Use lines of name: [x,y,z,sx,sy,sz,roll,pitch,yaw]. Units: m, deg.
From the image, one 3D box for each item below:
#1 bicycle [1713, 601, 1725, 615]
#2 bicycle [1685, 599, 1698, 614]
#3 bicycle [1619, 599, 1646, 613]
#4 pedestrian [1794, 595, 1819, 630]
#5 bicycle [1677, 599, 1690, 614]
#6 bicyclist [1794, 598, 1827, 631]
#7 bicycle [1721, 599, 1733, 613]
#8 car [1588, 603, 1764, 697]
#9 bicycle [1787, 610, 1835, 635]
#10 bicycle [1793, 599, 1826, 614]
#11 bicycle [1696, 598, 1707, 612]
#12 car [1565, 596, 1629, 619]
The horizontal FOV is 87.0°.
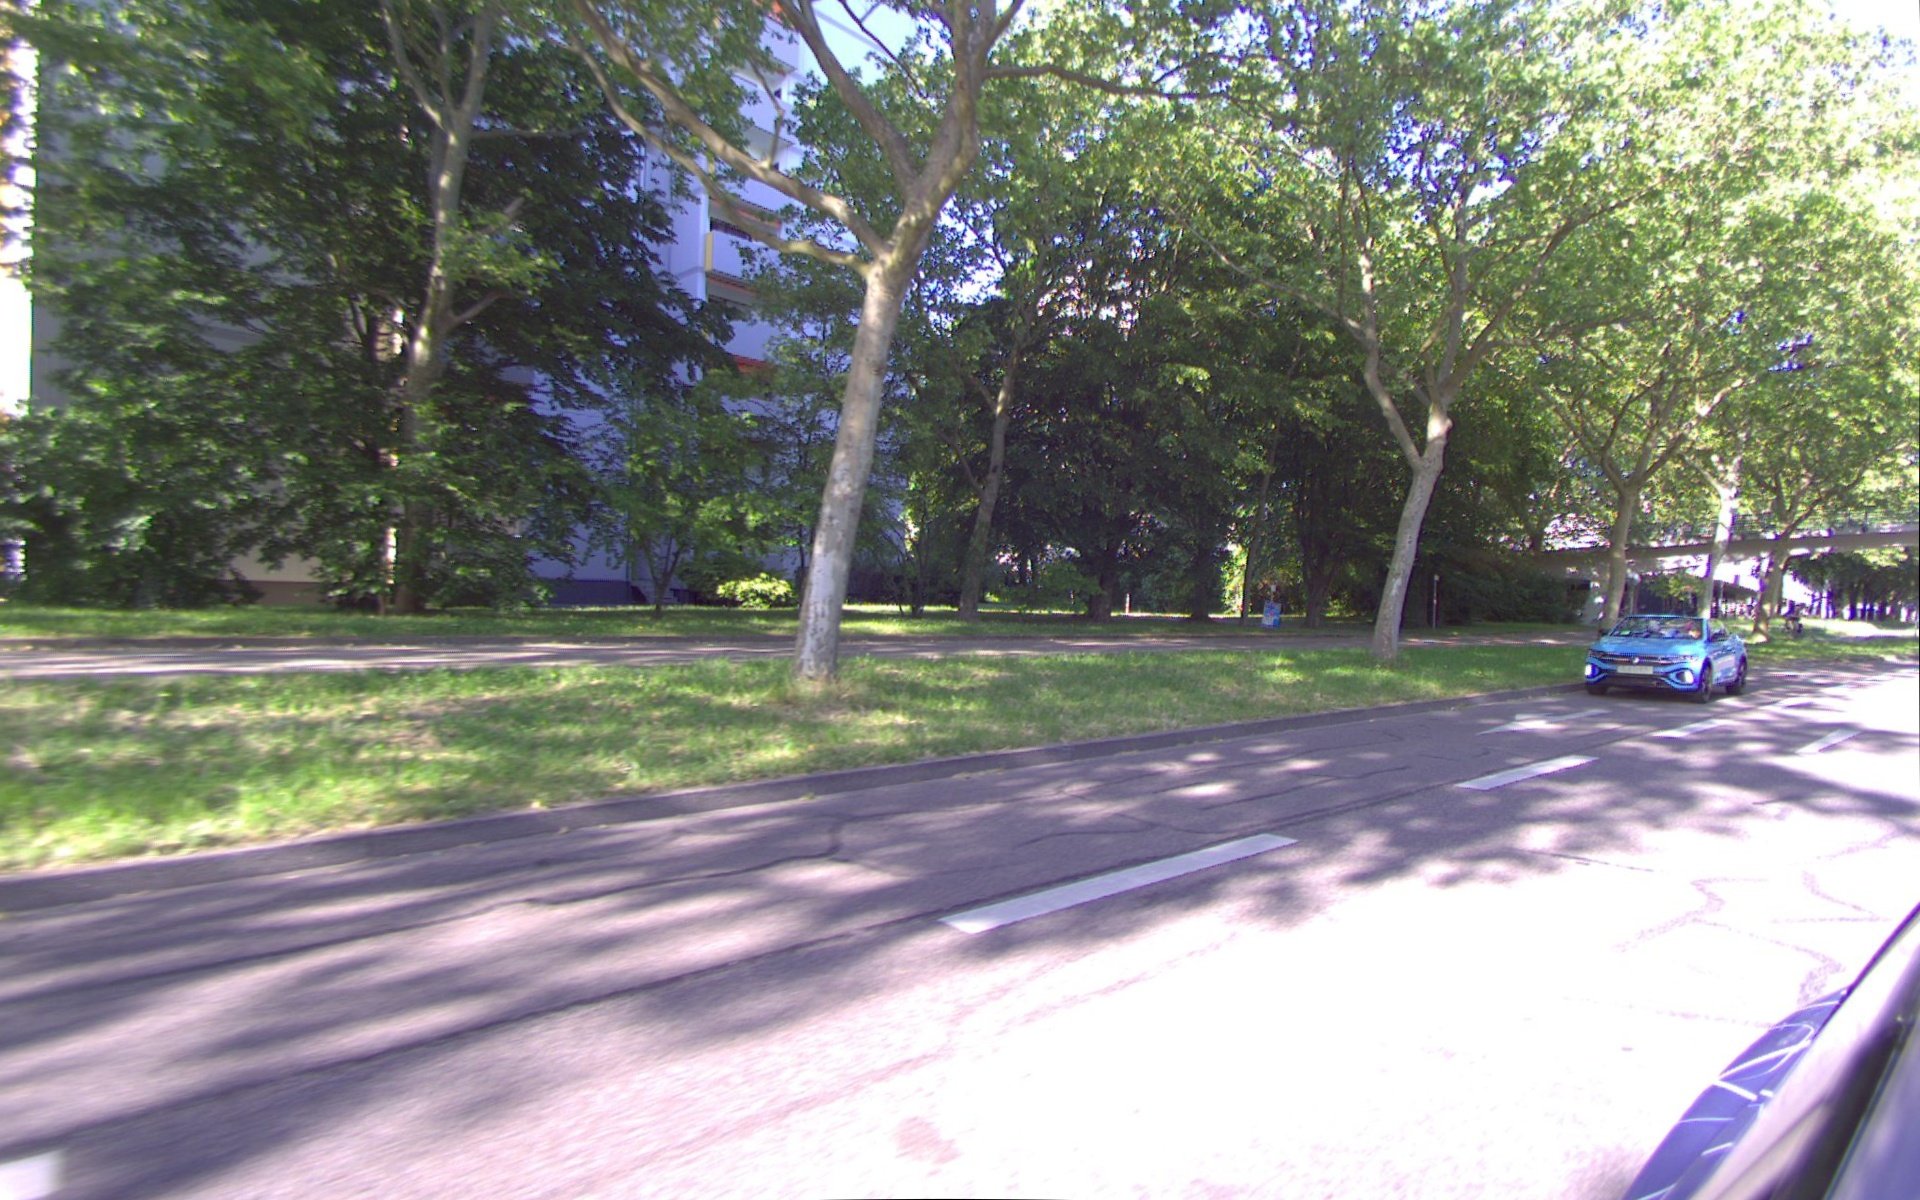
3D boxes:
bicycle: [66.774,0.690,89.026,1.776,1.269,0.576,0,0,-44]
bicycle: [63.213,0.521,87.456,1.776,1.269,0.576,0,0,-44]
bicycle: [57.056,0.481,85.868,1.799,1.129,0.700,3,3,41]
pedestrian: [44.422,0.668,53.115,0.725,1.800,0.661,2,-1,-4]
bicycle: [60.481,0.520,84.621,1.776,1.269,0.576,0,0,-44]
bicyclist: [45.782,0.772,54.456,0.798,1.652,0.958,4,2,-5]
bicycle: [70.136,0.575,92.509,1.776,1.269,0.576,0,0,-44]
car: [13.111,0.848,18.446,4.029,1.502,1.778,1,-1,-42]
bicycle: [45.757,1.194,54.444,0.798,1.161,1.840,4,2,-6]
bicycle: [72.038,0.566,85.800,2.063,1.172,0.554,4,2,38]
bicycle: [67.602,0.490,92.263,1.776,1.269,0.576,0,0,-44]
car: [47.455,0.549,75.413,1.681,1.515,3.731,4,-2,-44]
